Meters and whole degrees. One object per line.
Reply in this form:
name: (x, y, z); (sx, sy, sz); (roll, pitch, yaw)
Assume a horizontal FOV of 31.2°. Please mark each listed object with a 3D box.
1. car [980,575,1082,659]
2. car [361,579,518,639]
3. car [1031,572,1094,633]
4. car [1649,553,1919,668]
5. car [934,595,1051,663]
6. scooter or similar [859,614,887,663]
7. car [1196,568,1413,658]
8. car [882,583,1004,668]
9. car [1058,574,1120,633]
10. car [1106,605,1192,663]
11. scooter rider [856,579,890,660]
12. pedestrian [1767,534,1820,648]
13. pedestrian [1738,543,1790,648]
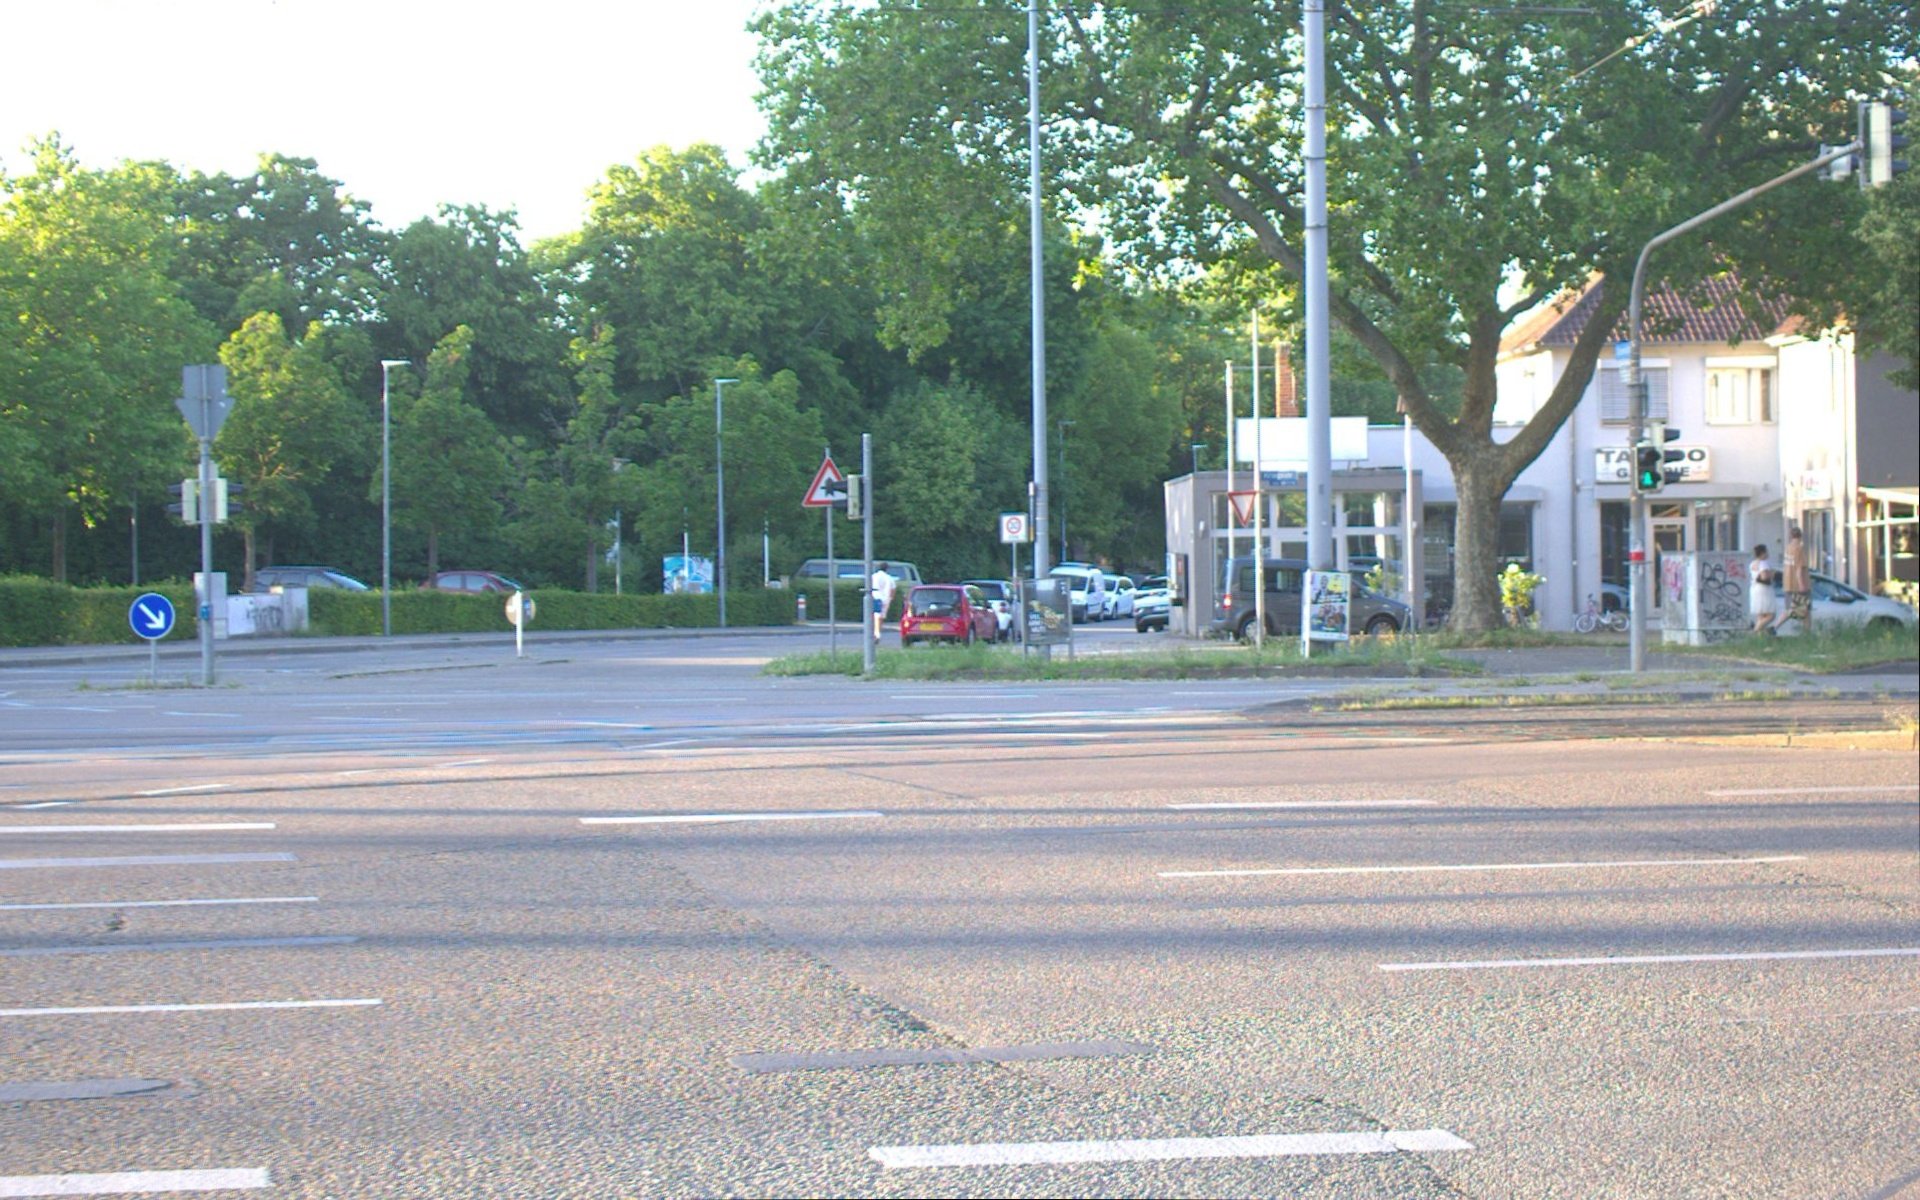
car: (1.821, 0.407, 87.143); (1.916, 2.040, 3.998); (-1, 0, 11)
car: (-13.859, 0.231, 91.691); (3.986, 1.555, 2.000); (-1, 0, -5)
car: (3.419, 0.065, 115.355); (1.993, 2.007, 4.000); (-1, 0, 0)
car: (13.870, 0.168, 57.426); (4.229, 1.840, 2.000); (-1, 0, -4)
car: (0.822, 0.678, 83.192); (1.995, 1.568, 3.998); (-1, 0, 13)
scooter or similar: (-2.011, 0.883, 79.072); (0.510, 1.086, 1.243); (-1, 0, -7)
car: (7.313, 0.272, 73.303); (4.376, 1.828, 1.949); (-1, 0, -1)
car: (-0.368, 0.568, 79.248); (1.869, 1.868, 3.872); (-1, 0, 15)
car: (4.483, 0.098, 120.075); (1.993, 2.007, 4.000); (-1, 0, 0)
car: (5.470, 0.960, 99.238); (1.916, 1.597, 3.998); (-1, 0, 11)
scooter rider: (-1.991, 0.449, 79.053); (0.702, 1.848, 0.669); (-1, -1, -7)
pedestrian: (12.896, -0.136, 53.191); (0.719, 1.748, 0.897); (-1, 0, 18)
pedestrian: (12.683, -0.069, 54.243); (0.719, 1.633, 0.897); (-1, 0, 18)
